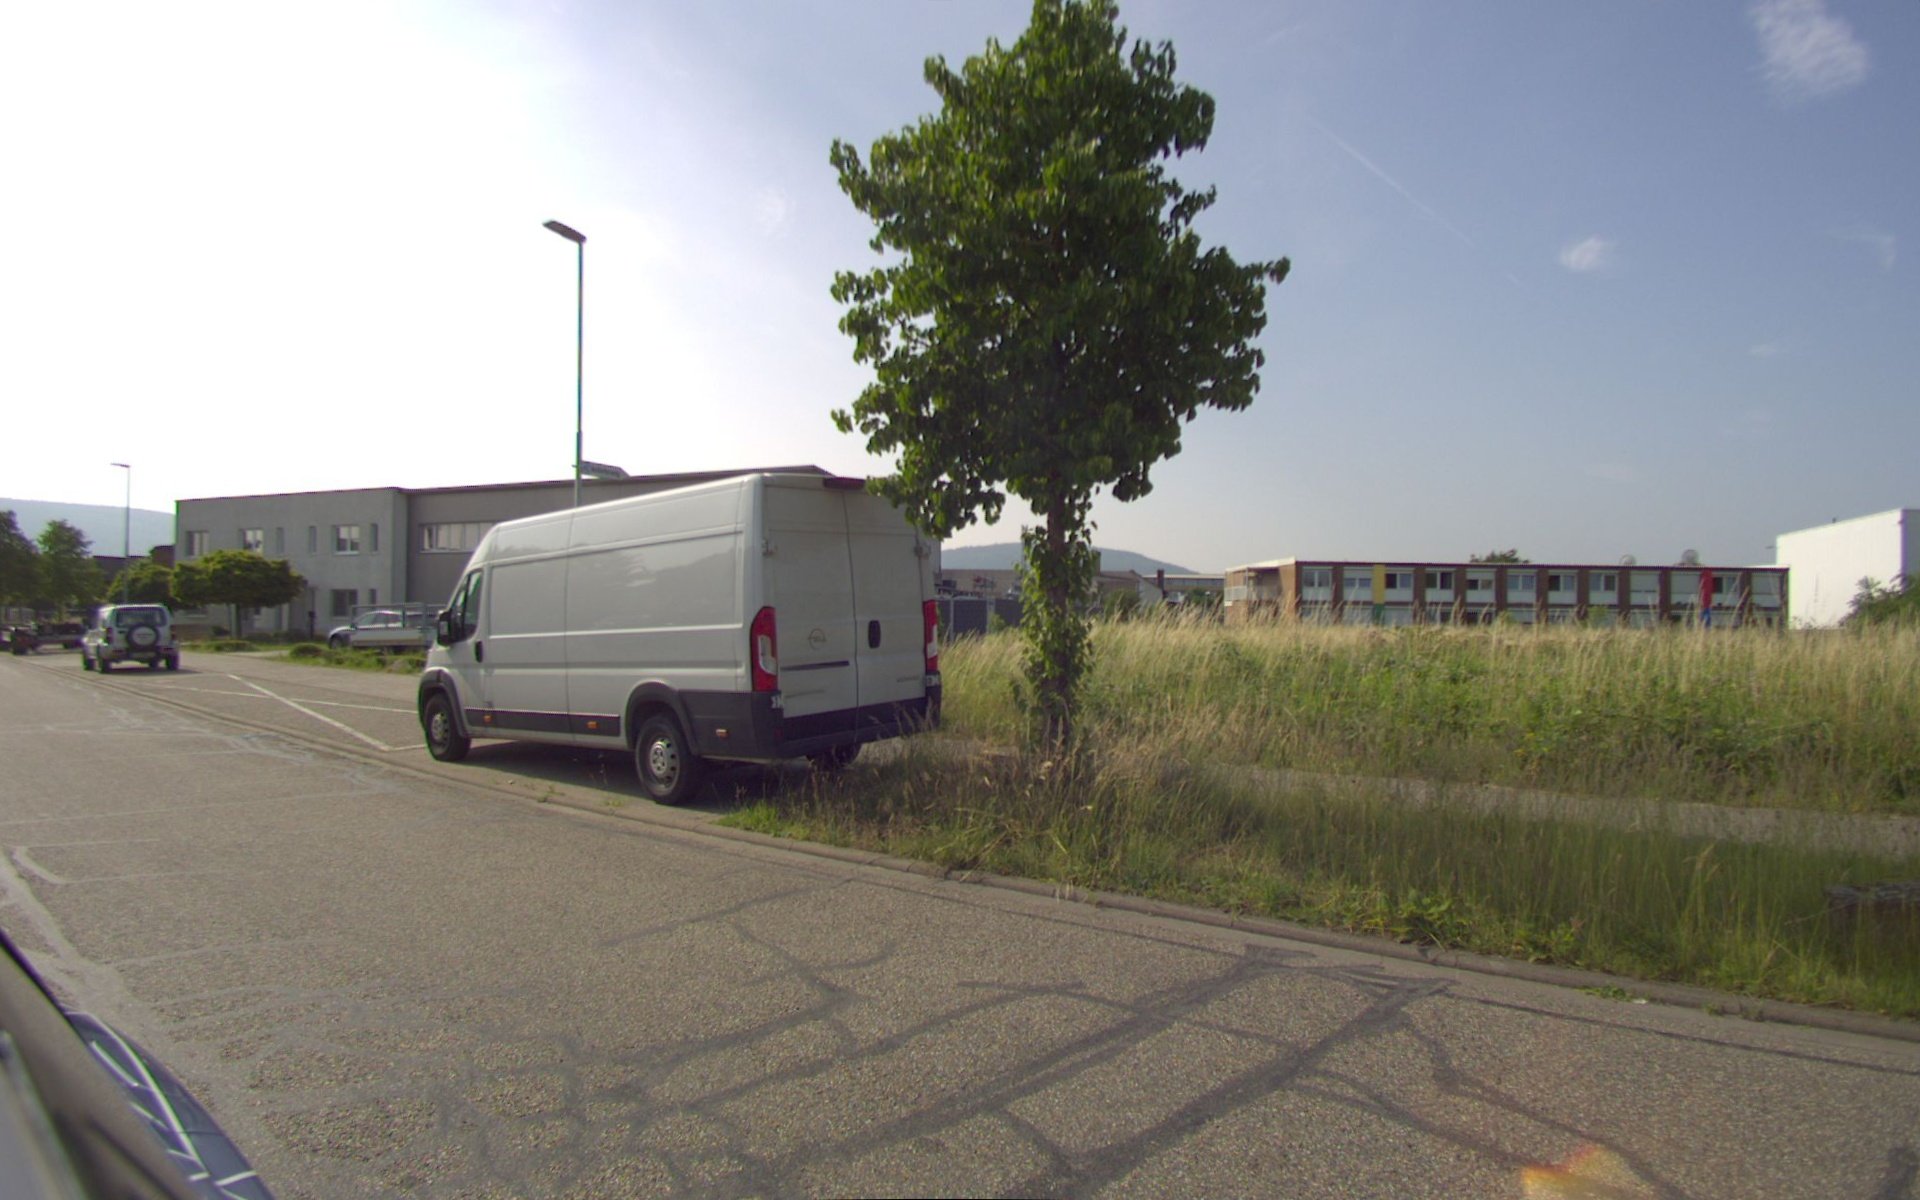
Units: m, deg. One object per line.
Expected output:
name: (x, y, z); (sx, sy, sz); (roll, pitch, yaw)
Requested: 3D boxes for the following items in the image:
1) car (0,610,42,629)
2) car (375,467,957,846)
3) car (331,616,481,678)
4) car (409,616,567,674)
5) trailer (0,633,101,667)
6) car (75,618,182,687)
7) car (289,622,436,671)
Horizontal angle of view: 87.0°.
car: (-85.789, 1.778, 91.463); (2.000, 1.741, 3.944); (-1, -2, 42)
car: (-3.214, 0.413, 9.854); (6.496, 2.614, 2.082); (-1, 0, 39)
car: (-15.471, 1.269, 28.260); (3.794, 1.583, 1.824); (-1, 0, 25)
car: (-14.322, 1.318, 30.721); (4.395, 1.671, 1.979); (-1, -1, 24)
trailer: (-35.671, 1.869, 39.077); (9.728, 1.082, 2.519); (-1, -1, 42)
car: (-21.471, 1.303, 26.089); (3.643, 1.663, 1.580); (-1, -1, 42)
car: (-19.424, 1.476, 32.918); (4.395, 1.487, 1.966); (-1, -1, 24)
